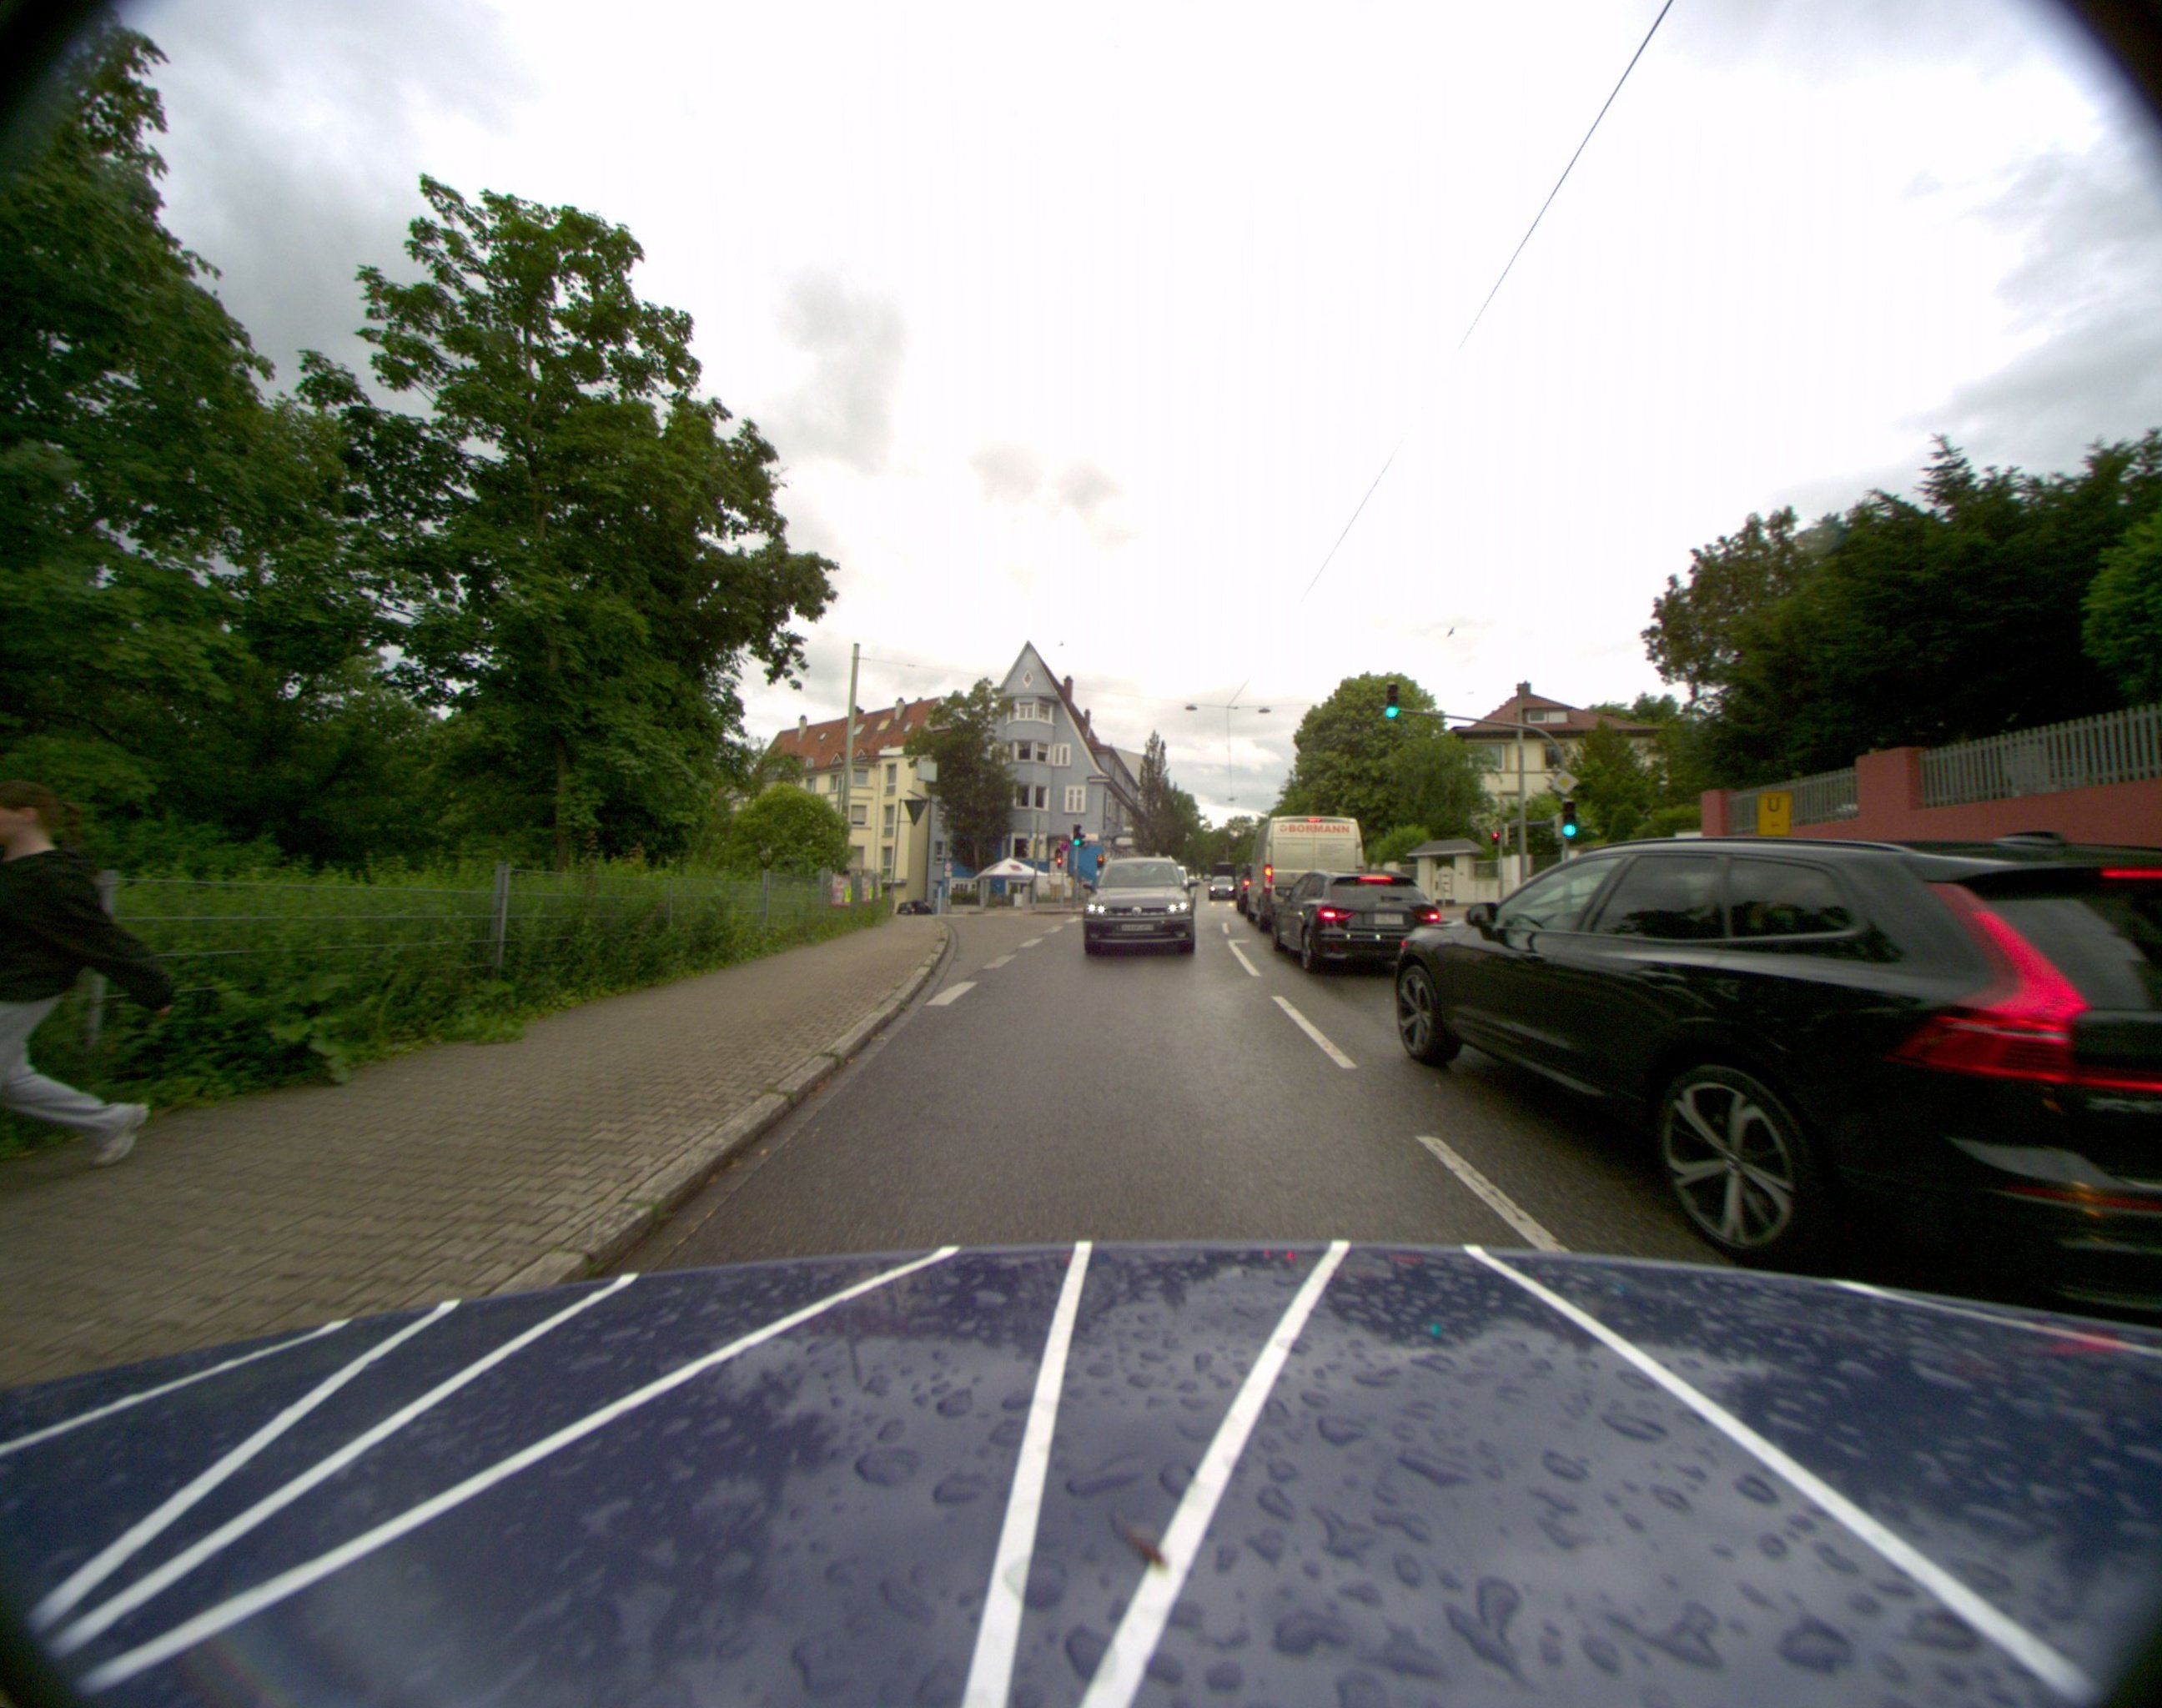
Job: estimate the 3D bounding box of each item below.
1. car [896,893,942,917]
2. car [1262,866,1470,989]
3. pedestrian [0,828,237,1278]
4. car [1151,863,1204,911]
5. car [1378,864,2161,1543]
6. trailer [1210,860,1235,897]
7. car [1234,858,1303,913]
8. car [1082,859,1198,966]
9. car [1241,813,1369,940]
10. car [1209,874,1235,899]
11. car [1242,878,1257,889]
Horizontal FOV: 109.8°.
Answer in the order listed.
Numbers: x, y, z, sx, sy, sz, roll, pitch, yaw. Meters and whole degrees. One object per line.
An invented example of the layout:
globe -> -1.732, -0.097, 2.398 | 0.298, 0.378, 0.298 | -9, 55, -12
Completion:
car -> -11.224, 3.540, 52.896 | 1.636, 1.488, 3.148 | -5, -3, 21
car -> 4.006, 0.941, 11.445 | 1.819, 1.421, 4.001 | 2, 0, 4
pedestrian -> -4.219, 0.709, 2.929 | 0.767, 1.596, 0.966 | 4, 0, 2
car -> 3.650, 1.193, 28.704 | 1.784, 1.631, 4.203 | 1, -1, 7
car -> 3.402, 0.875, 4.066 | 1.879, 1.565, 4.586 | 2, 0, 1
trailer -> 10.462, 1.749, 55.982 | 1.769, 2.610, 3.035 | 0, 0, 11
car -> 6.100, 1.008, 25.130 | 1.825, 1.642, 4.350 | 0, -2, 9
car -> 1.232, 0.939, 14.033 | 1.784, 1.631, 4.203 | 1, -1, 8
car -> 5.102, 0.472, 18.145 | 2.121, 2.530, 5.544 | 1, 0, 8
car -> 9.825, 2.241, 52.809 | 1.735, 1.610, 3.479 | -1, 0, 11
car -> 23.370, 4.073, 105.147 | 1.855, 1.477, 5.375 | 1, -2, 14
